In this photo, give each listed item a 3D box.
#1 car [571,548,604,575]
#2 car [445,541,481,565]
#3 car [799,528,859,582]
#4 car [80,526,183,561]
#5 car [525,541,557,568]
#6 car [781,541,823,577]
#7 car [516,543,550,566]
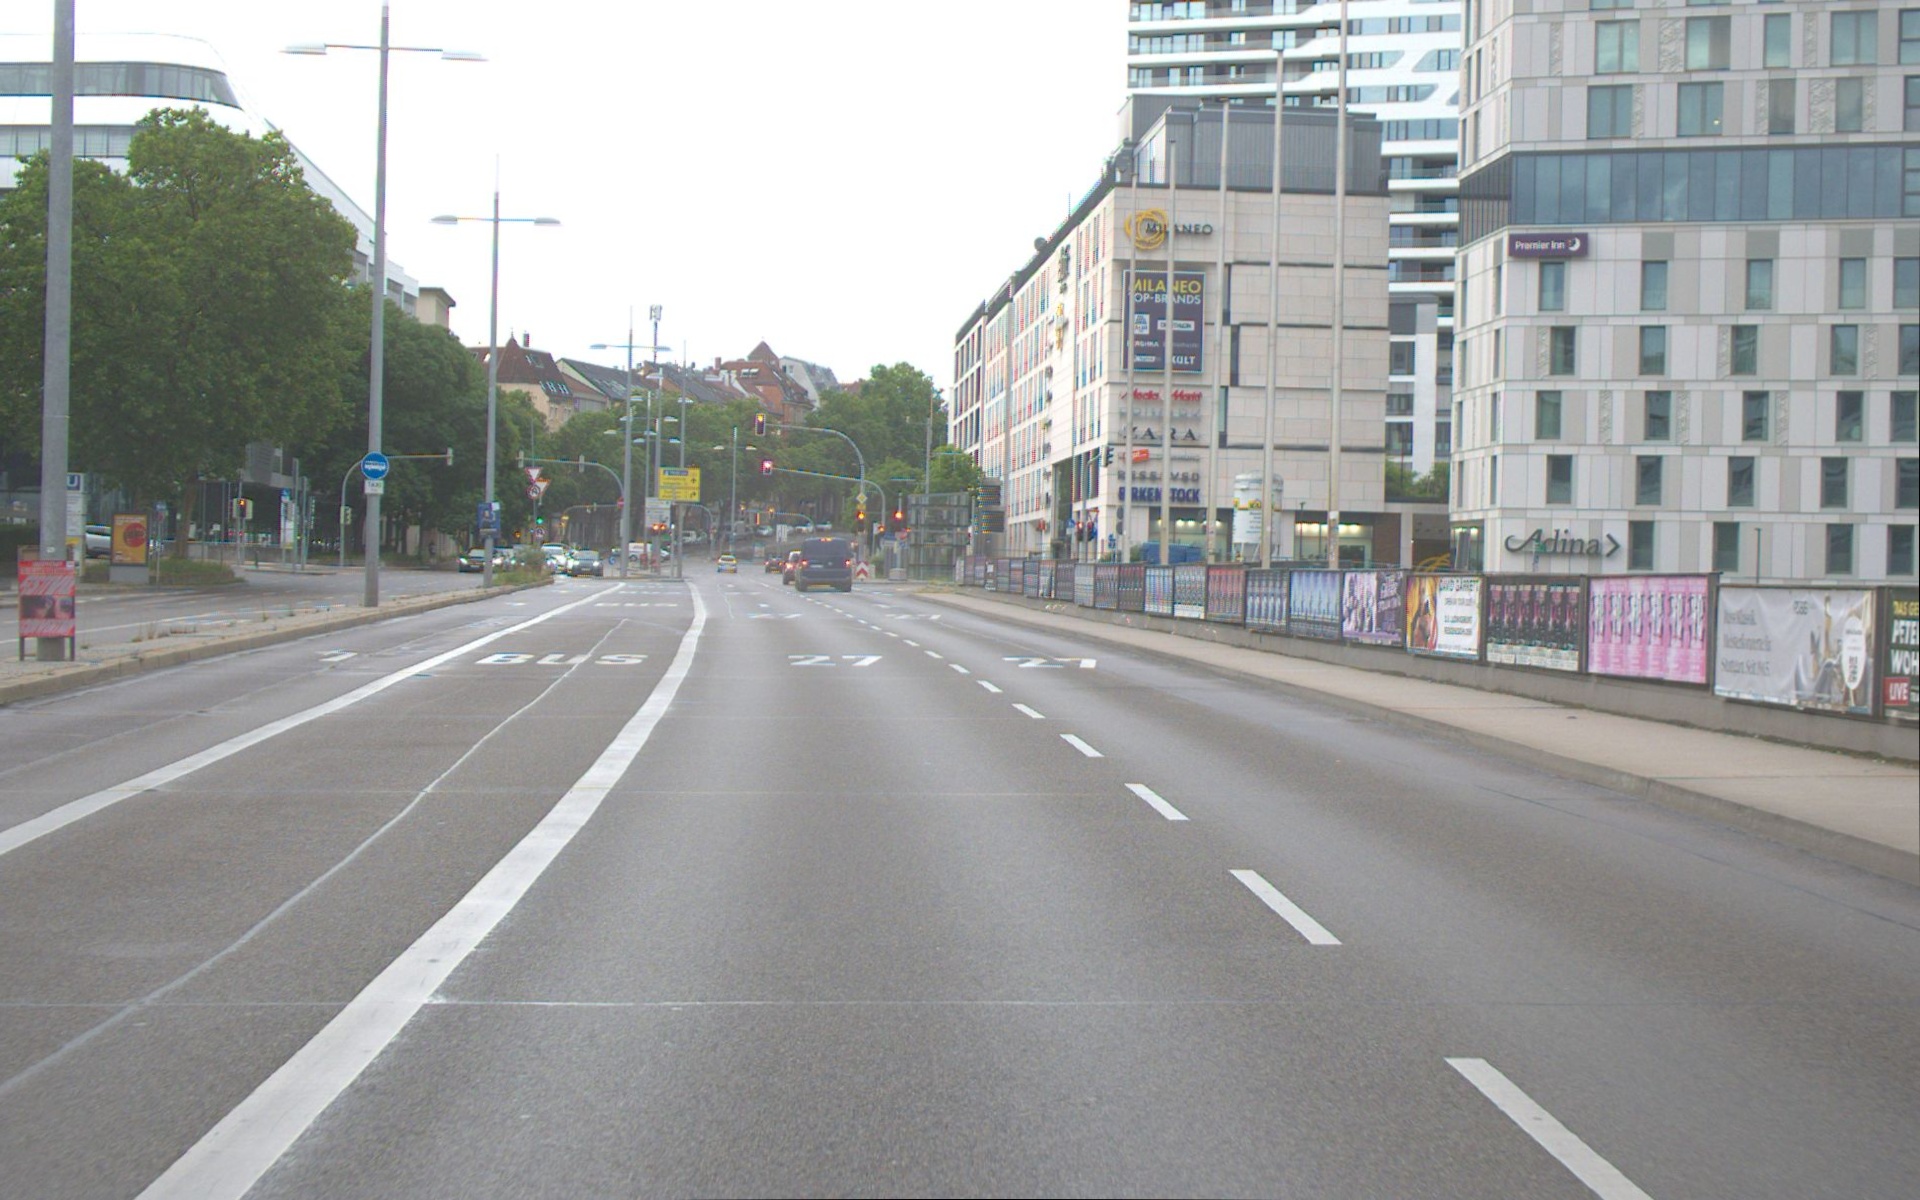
[{"bbox_3d":[-21.398,-2.199,197.477,1.743,1.439,3.395,1,0,-4],"label":"car"},{"bbox_3d":[-28.508,-2.697,197.357,1.743,1.324,4.226,1,0,-4],"label":"car"},{"bbox_3d":[-4.880,-1.687,127.484,2.032,1.875,5.043,-2,1,-4],"label":"car"},{"bbox_3d":[-40.642,-2.770,168.624,4.504,1.626,1.894,1,0,12],"label":"car"},{"bbox_3d":[-25.032,-2.725,205.443,1.743,1.553,3.540,1,0,-4],"label":"car"},{"bbox_3d":[-6.993,-1.807,152.250,1.739,1.526,3.814,1,0,-4],"label":"car"},{"bbox_3d":[-24.582,-2.612,198.061,1.743,1.253,3.540,2,1,-4],"label":"car"}]
